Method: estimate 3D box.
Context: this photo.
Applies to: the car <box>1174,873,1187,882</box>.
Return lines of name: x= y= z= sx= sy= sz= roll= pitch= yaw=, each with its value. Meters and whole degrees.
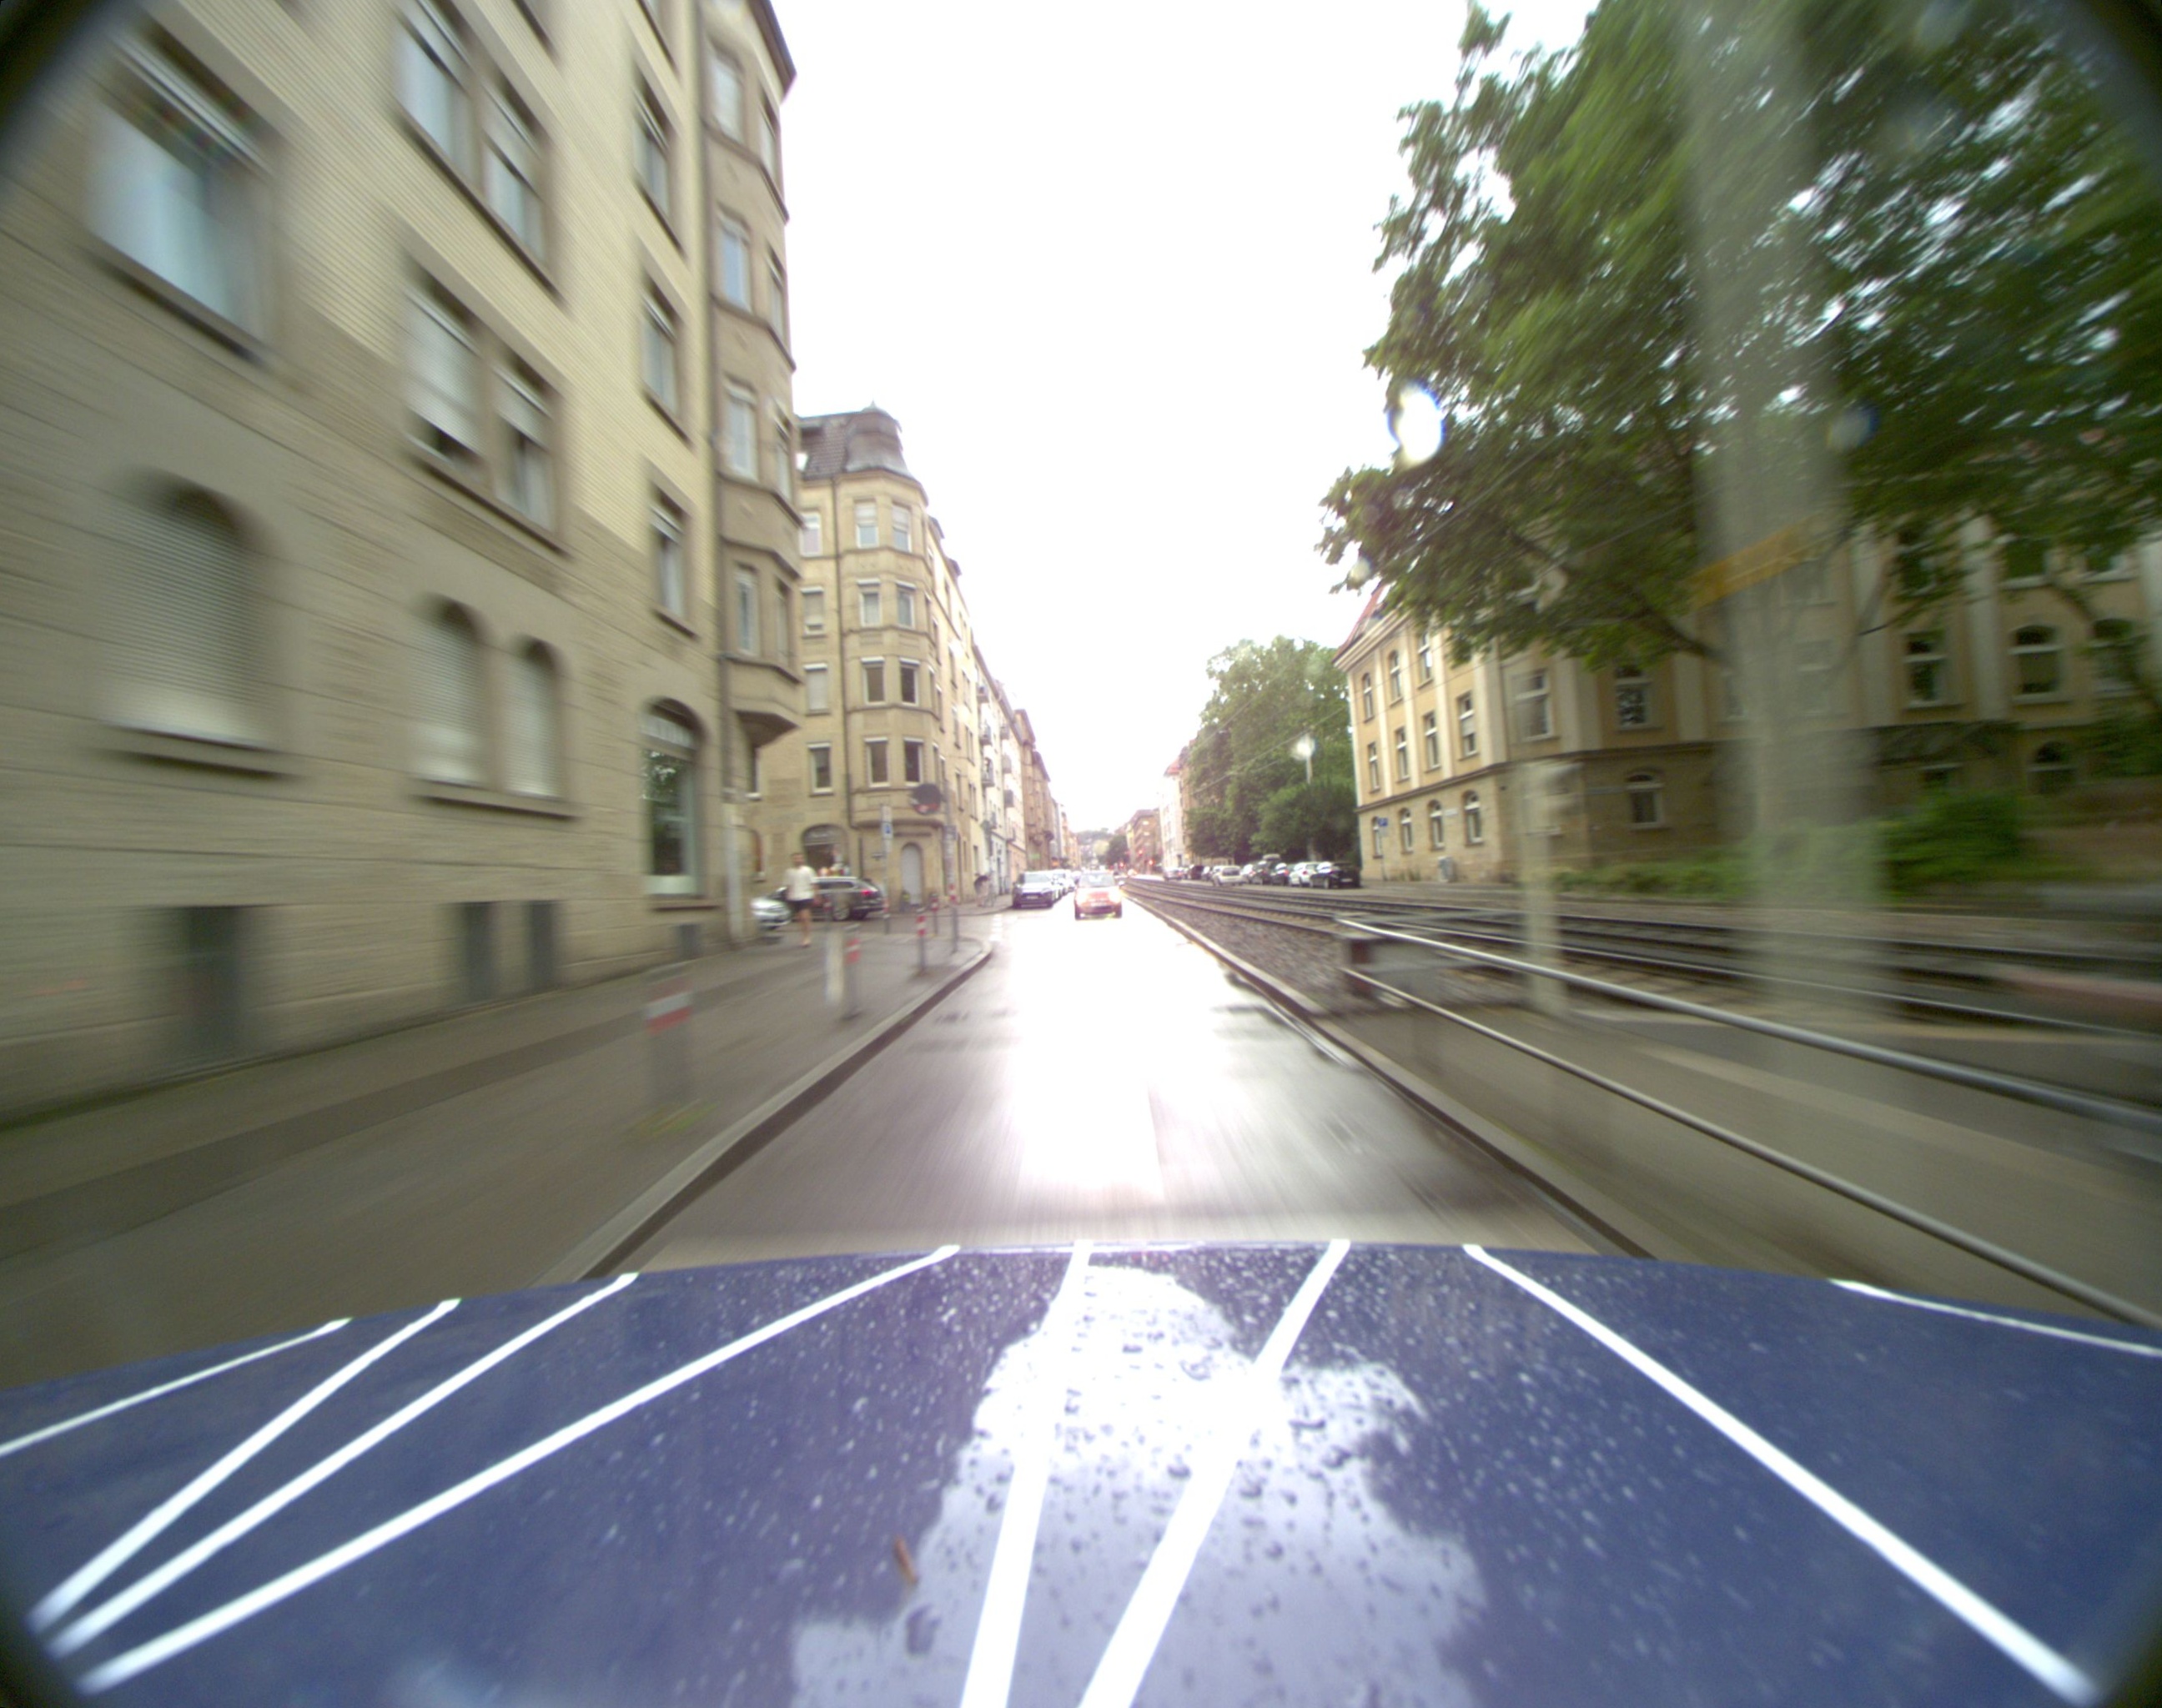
car: x=13.626 y=3.261 z=104.071 sx=1.326 sy=1.159 sz=2.910 roll=-3 pitch=-2 yaw=-1

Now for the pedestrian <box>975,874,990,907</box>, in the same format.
pedestrian: x=-4.243 y=1.570 z=32.666 sx=0.510 sy=1.362 sz=0.404 roll=-2 pitch=-1 yaw=-25

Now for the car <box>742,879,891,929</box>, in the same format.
car: x=-9.047 y=1.744 z=26.194 sx=4.506 sy=1.489 sz=1.781 roll=-2 pitch=-4 yaw=3

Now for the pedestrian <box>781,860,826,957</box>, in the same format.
pedestrian: x=-5.187 y=1.012 z=14.209 sx=0.580 sy=1.741 sz=0.575 roll=-2 pitch=-2 yaw=1

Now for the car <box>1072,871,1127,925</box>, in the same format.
car: x=0.597 y=1.442 z=25.424 sx=1.620 sy=1.591 sz=4.068 roll=-3 pitch=-3 yaw=1

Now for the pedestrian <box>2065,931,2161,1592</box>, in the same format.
pedestrian: x=2.832 y=1.006 z=1.715 sx=0.433 sy=1.629 sz=0.482 roll=-4 pitch=-2 yaw=6

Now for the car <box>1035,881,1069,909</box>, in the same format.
car: x=-1.709 y=2.439 z=45.854 sx=1.745 sy=1.507 sz=4.002 roll=-3 pitch=-2 yaw=1

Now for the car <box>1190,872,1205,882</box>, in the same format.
car: x=14.011 y=2.804 z=91.507 sx=1.326 sy=1.159 sz=2.910 roll=-3 pitch=-2 yaw=-1

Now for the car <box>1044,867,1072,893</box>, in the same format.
car: x=-1.583 y=1.841 z=53.933 sx=1.745 sy=1.728 sz=4.002 roll=-3 pitch=-2 yaw=1

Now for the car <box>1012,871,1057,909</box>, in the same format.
car: x=-2.084 y=1.627 z=35.091 sx=1.745 sy=1.576 sz=4.001 roll=-3 pitch=-2 yaw=0

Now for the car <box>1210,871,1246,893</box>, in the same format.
car: x=10.724 y=2.034 z=55.508 sx=1.687 sy=1.468 sz=3.312 roll=-4 pitch=-1 yaw=-4

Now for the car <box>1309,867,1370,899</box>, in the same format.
car: x=13.586 y=1.523 z=40.178 sx=1.892 sy=1.468 sz=3.808 roll=-4 pitch=-1 yaw=2

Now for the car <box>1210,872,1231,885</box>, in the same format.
car: x=13.492 y=2.400 z=73.521 sx=1.326 sy=1.159 sz=2.910 roll=-3 pitch=-2 yaw=-2

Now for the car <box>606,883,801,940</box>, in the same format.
car: x=-9.778 y=1.468 z=19.870 sx=4.214 sy=1.360 sz=1.799 roll=-1 pitch=-2 yaw=3

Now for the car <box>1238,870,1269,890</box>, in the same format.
car: x=13.448 y=2.067 z=59.356 sx=1.484 sy=1.440 sz=3.501 roll=-3 pitch=-2 yaw=-1

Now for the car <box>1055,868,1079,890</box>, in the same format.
car: x=-1.150 y=2.050 z=62.430 sx=1.745 sy=1.648 sz=4.002 roll=-3 pitch=-2 yaw=1

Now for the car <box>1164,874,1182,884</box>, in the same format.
car: x=10.754 y=2.953 z=89.217 sx=1.572 sy=1.159 sz=2.910 roll=-3 pitch=-2 yaw=-2

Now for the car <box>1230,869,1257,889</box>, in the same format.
car: x=13.700 y=2.118 z=64.153 sx=1.402 sy=1.499 sz=3.315 roll=-3 pitch=-2 yaw=-2

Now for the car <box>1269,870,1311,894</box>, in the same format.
car: x=13.514 y=1.817 z=49.320 sx=1.646 sy=1.392 sz=3.517 roll=-3 pitch=-2 yaw=0

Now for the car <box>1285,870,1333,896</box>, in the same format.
car: x=13.409 y=1.728 z=44.819 sx=1.646 sy=1.392 sz=3.517 roll=-3 pitch=-2 yaw=0

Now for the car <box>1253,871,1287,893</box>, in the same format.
car: x=13.461 y=1.997 z=54.302 sx=1.484 sy=1.392 sz=3.283 roll=-3 pitch=-2 yaw=-1

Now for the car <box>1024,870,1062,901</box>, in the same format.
car: x=-2.026 y=1.701 z=41.575 sx=1.745 sy=1.507 sz=4.002 roll=-3 pitch=-2 yaw=1

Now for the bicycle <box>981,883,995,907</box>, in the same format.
bicycle: x=-4.026 y=1.784 z=32.860 sx=0.339 sy=1.008 sz=1.676 roll=-1 pitch=-2 yaw=2

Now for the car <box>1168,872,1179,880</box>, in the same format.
car: x=14.590 y=3.454 z=119.907 sx=1.326 sy=1.159 sz=2.911 roll=-3 pitch=-2 yaw=-1
